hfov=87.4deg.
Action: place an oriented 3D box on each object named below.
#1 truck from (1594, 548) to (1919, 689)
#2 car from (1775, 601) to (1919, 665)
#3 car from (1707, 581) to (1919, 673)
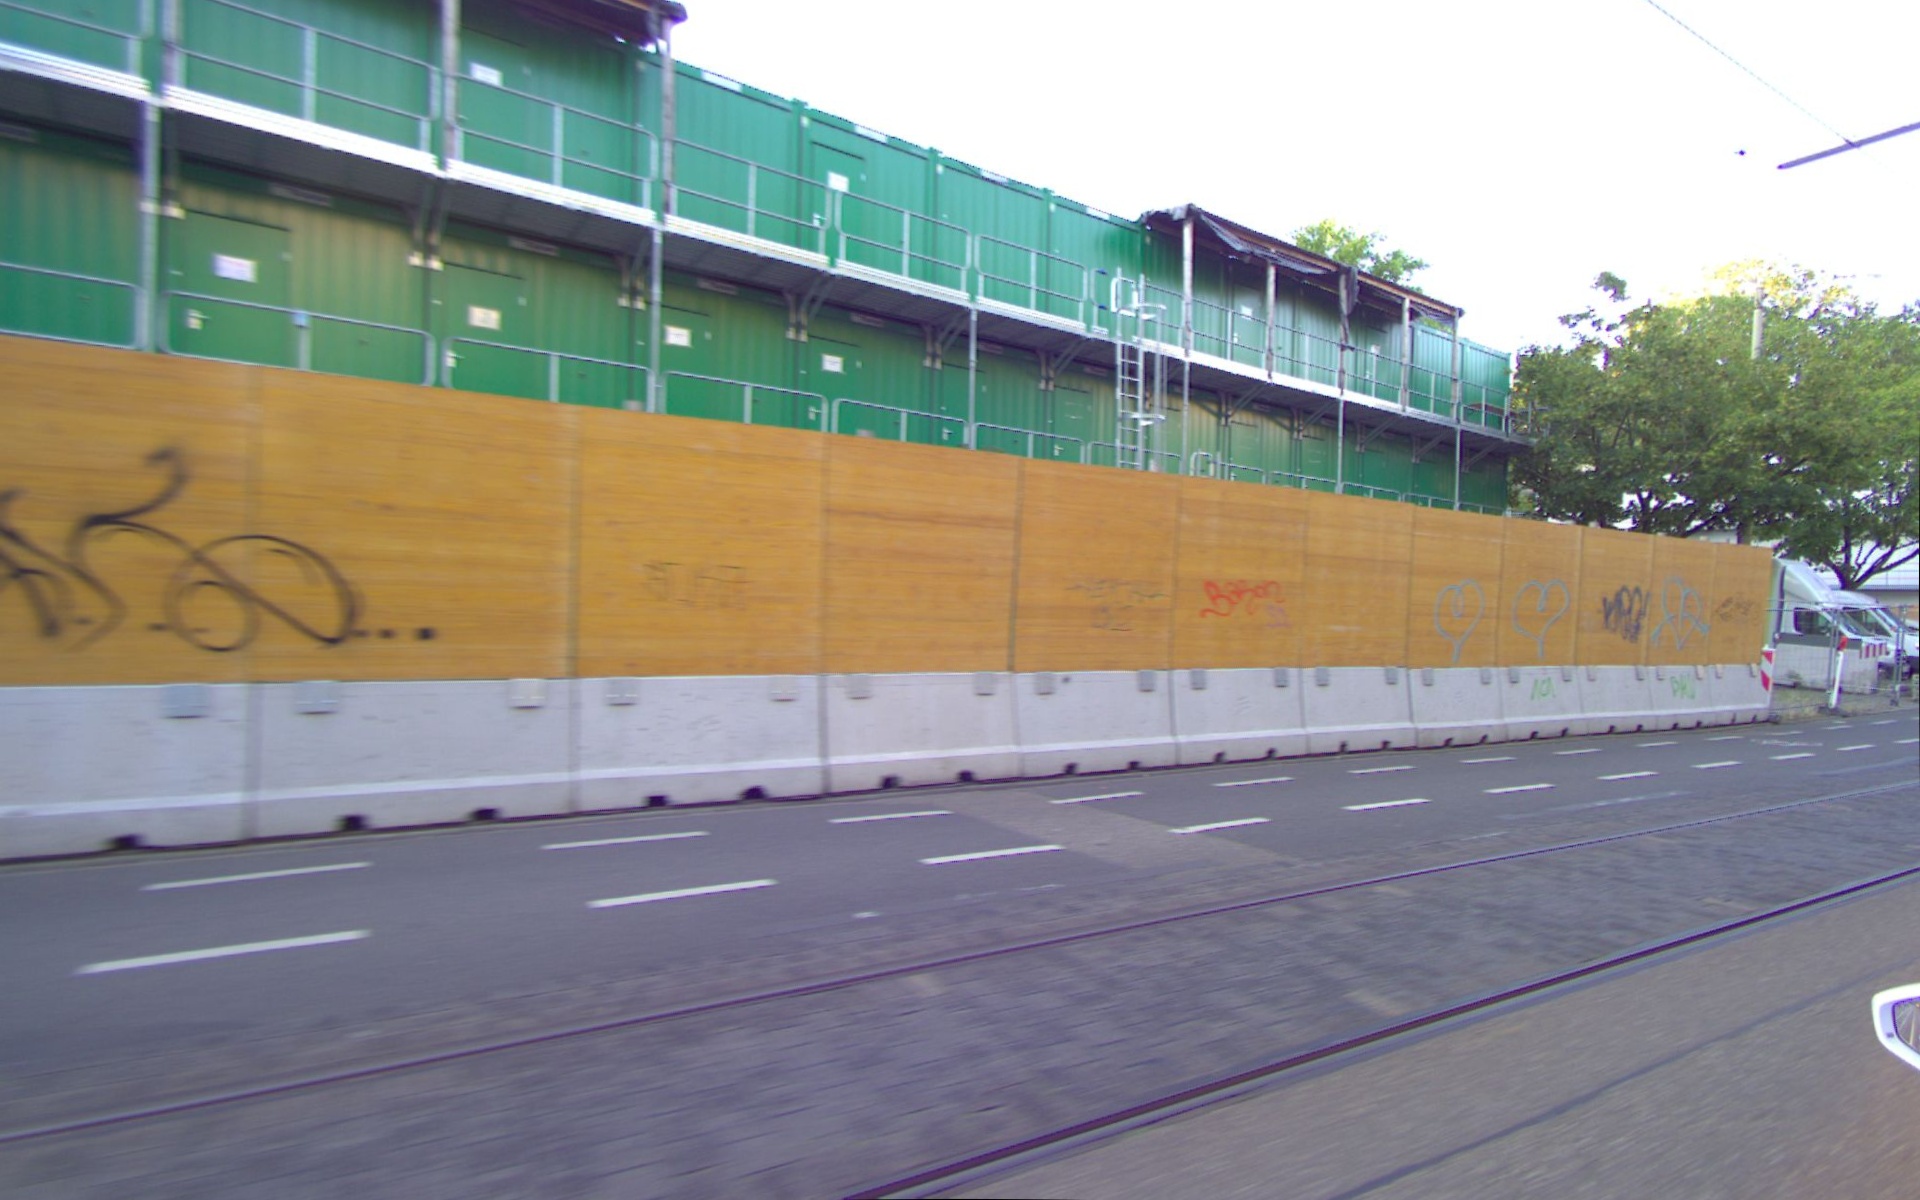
[{"bbox_3d":[22.626,0.352,28.821,2.514,3.528,7.014,1,2,-33],"label":"truck"},{"bbox_3d":[32.244,1.140,35.360,2.197,1.971,5.010,1,2,-25],"label":"car"},{"bbox_3d":[27.442,0.753,32.007,2.202,2.593,5.368,1,2,-32],"label":"car"}]
